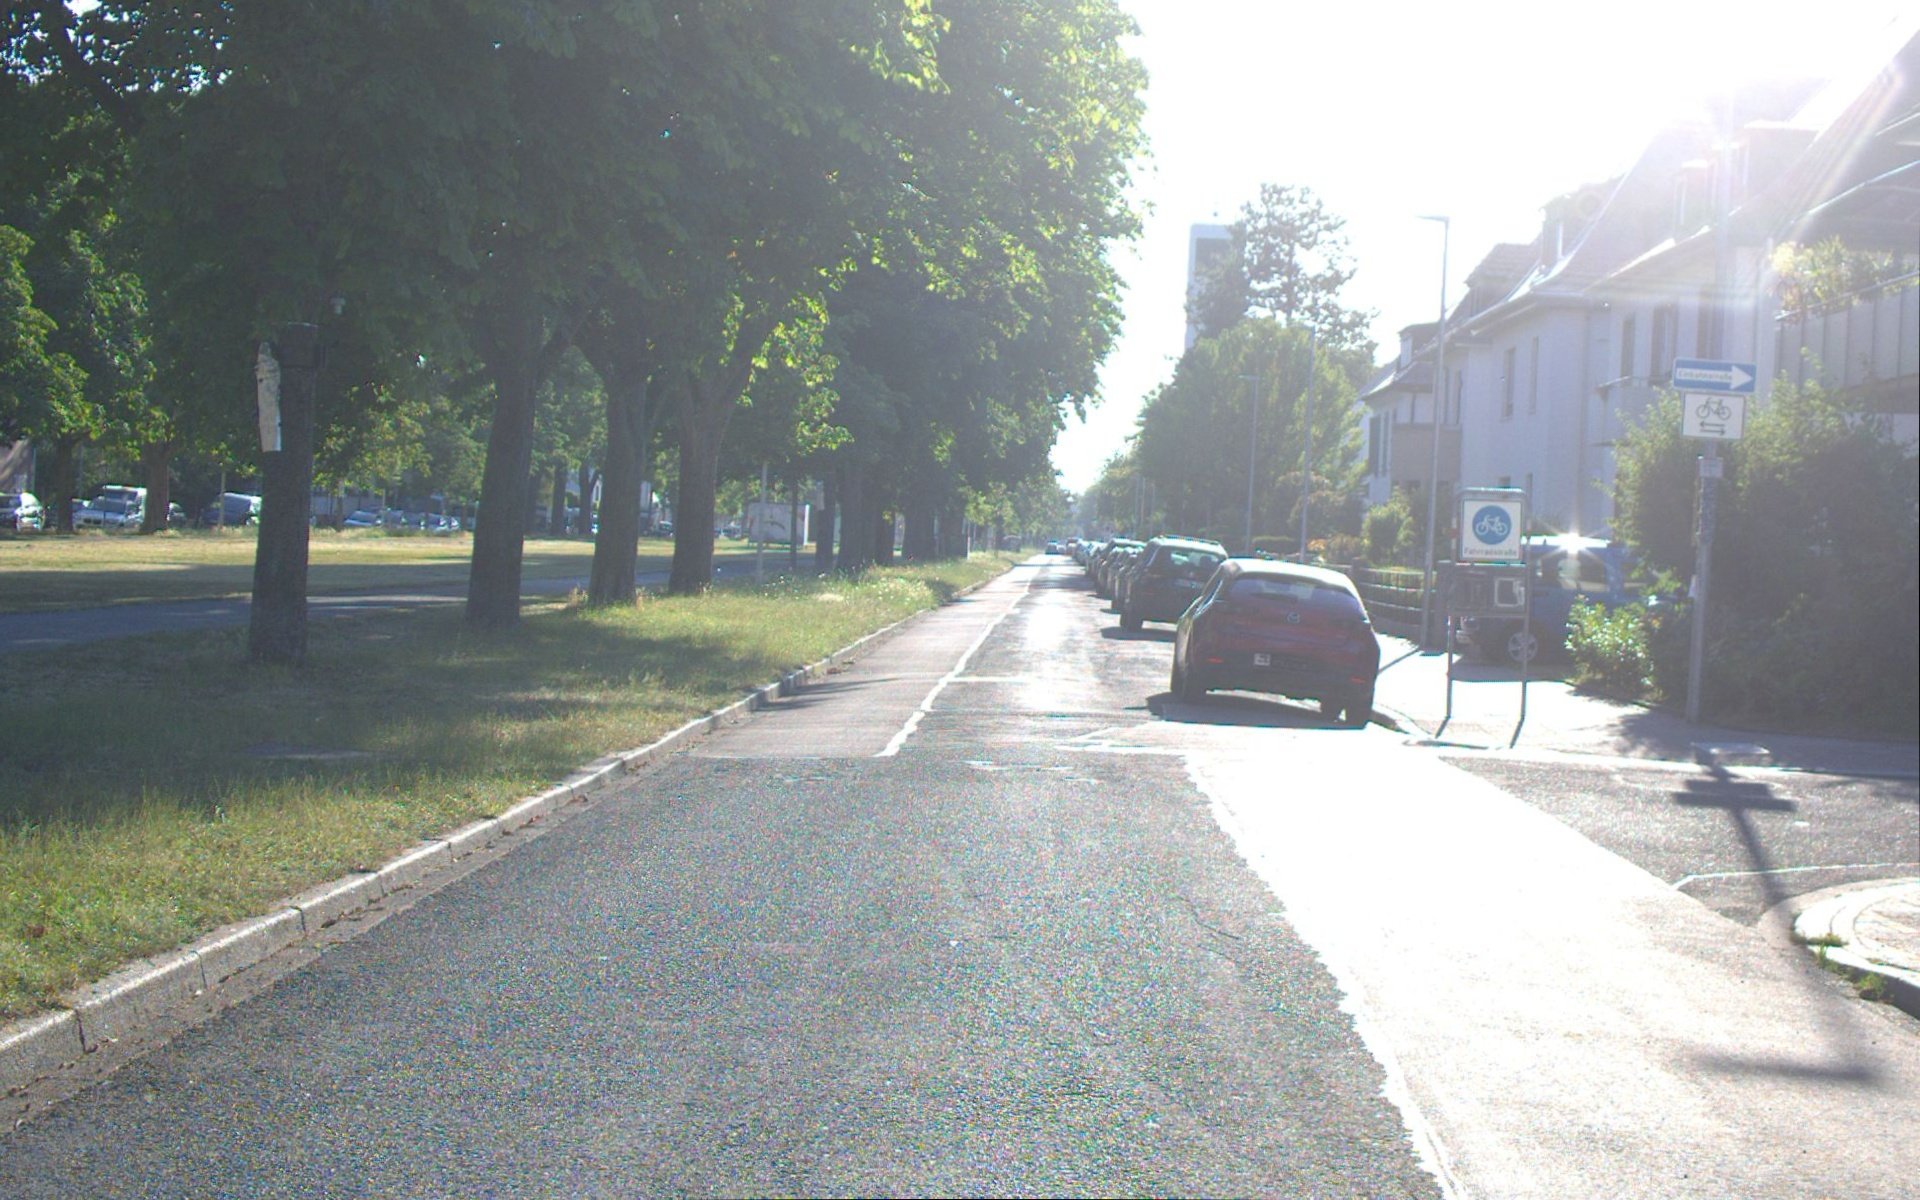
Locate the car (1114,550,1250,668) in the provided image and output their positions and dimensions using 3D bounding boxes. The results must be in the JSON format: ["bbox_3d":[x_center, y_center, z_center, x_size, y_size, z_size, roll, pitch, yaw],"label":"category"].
[{"bbox_3d":[3.817,0.129,59.650,1.994,1.775,4.000,5,1,1],"label":"car"}]

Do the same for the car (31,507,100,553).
[{"bbox_3d":[-36.149,-2.817,139.056,1.639,1.637,3.854,5,0,0],"label":"car"}]

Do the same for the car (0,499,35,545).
[{"bbox_3d":[-37.140,-3.064,131.563,1.994,1.653,4.354,5,0,3],"label":"car"}]

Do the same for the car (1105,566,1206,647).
[{"bbox_3d":[4.367,0.151,77.303,1.993,1.648,4.000,4,0,1],"label":"car"}]

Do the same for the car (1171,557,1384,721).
[{"bbox_3d":[3.059,0.364,33.856,1.710,1.355,4.203,5,0,2],"label":"car"}]

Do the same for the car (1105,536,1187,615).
[{"bbox_3d":[5.275,-0.680,97.927,1.994,2.007,4.000,5,0,1],"label":"car"}]

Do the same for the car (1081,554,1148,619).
[{"bbox_3d":[5.270,-0.467,117.604,1.994,2.007,4.000,5,0,1],"label":"car"}]

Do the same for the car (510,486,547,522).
[{"bbox_3d":[-26.601,-5.894,212.041,1.654,1.931,3.567,5,-1,1],"label":"car"}]

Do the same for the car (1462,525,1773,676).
[{"bbox_3d":[9.298,0.021,48.813,3.986,1.816,1.760,3,-5,-2],"label":"car"}]

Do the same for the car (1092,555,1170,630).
[{"bbox_3d":[5.111,-0.219,103.234,1.994,2.007,4.000,5,0,1],"label":"car"}]

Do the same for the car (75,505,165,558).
[{"bbox_3d":[-30.695,-2.485,125.725,2.023,1.653,3.983,5,0,2],"label":"car"}]
